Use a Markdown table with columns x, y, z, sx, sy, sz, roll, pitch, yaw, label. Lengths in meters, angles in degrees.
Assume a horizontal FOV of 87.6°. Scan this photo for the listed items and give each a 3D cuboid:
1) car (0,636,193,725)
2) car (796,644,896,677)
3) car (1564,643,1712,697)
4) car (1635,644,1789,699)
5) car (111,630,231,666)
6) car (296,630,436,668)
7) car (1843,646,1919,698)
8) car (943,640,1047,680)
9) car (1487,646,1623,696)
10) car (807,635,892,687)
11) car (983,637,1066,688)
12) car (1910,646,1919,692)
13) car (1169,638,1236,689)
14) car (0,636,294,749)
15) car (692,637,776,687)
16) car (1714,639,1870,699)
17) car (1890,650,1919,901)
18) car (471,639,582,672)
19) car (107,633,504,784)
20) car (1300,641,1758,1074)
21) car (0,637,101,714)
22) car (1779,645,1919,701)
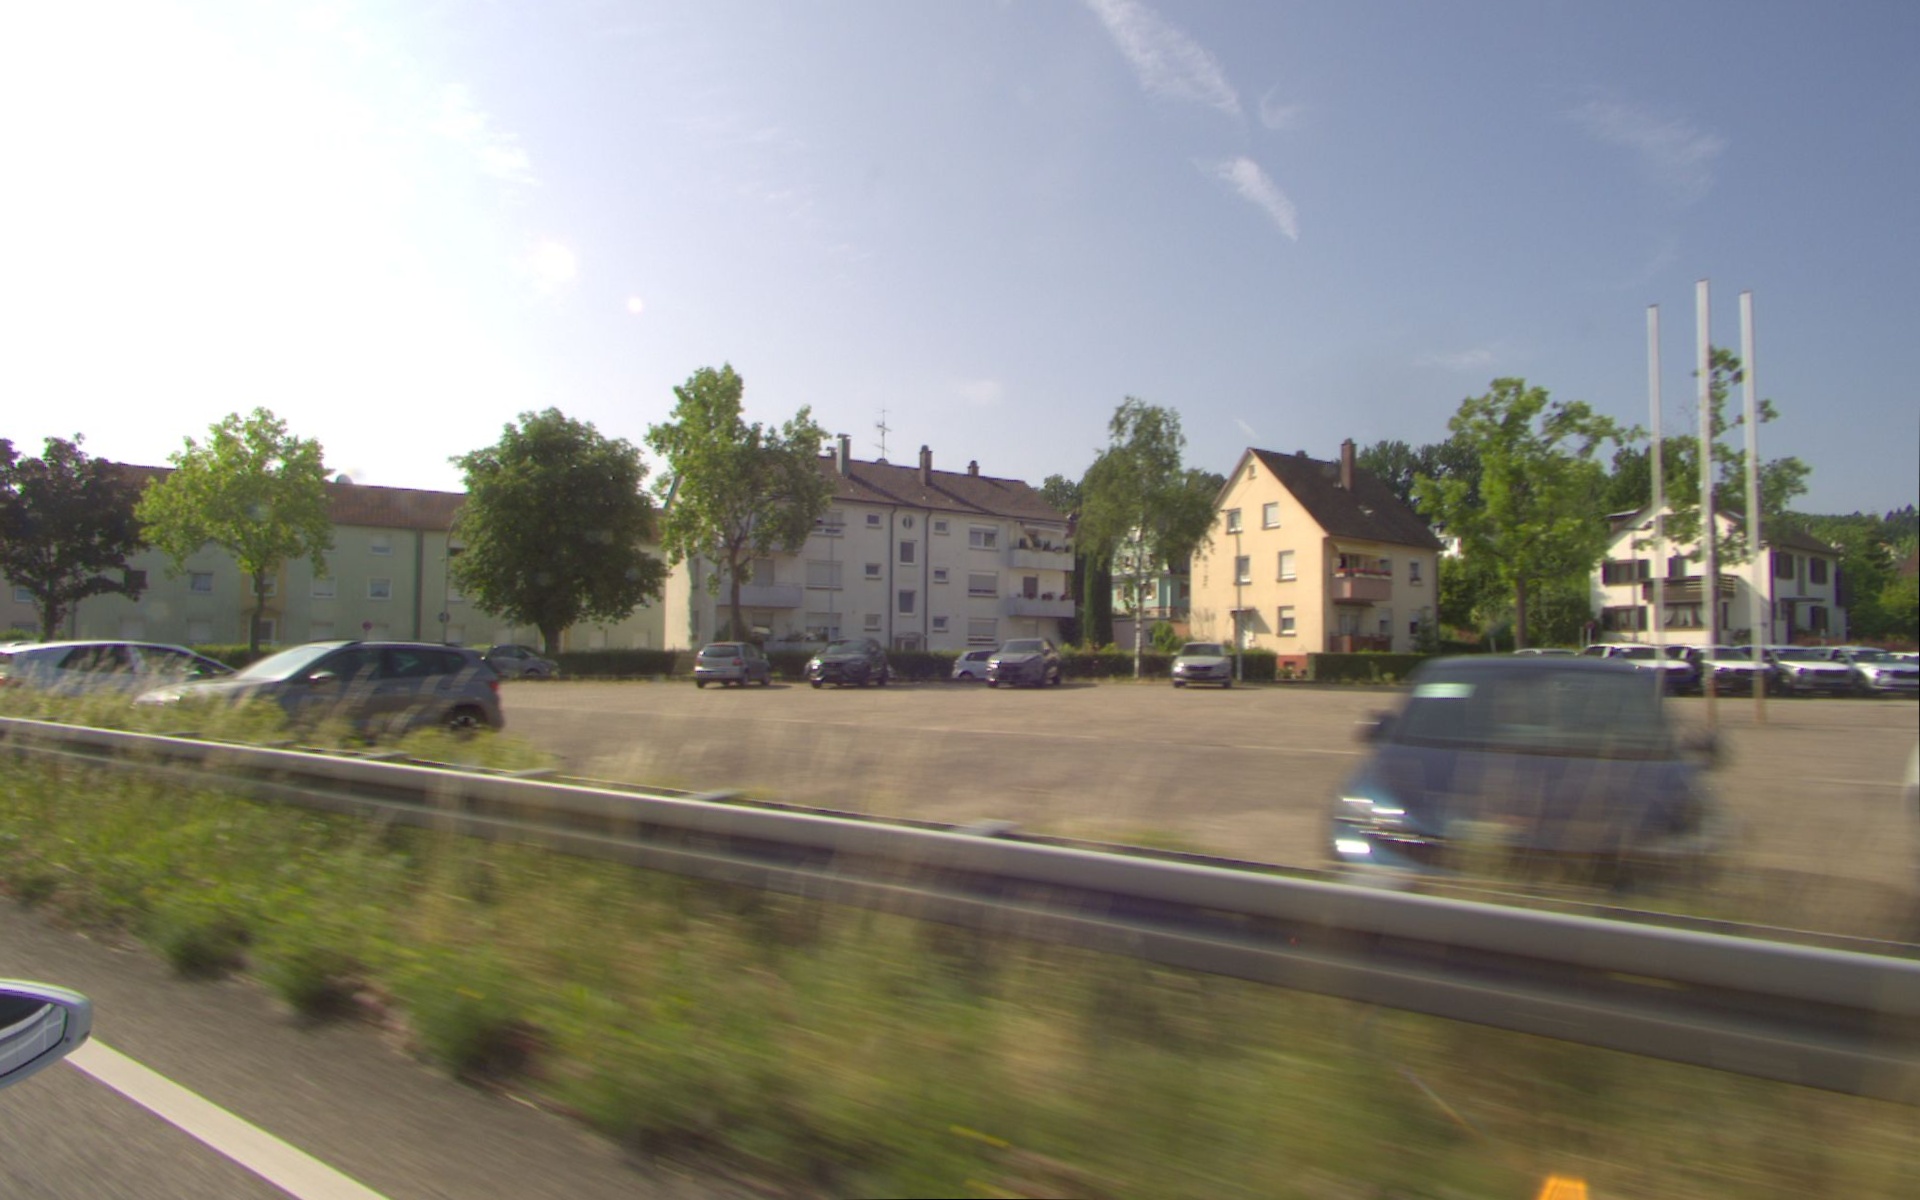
| x | y | z | sx | sy | sz | roll | pitch | yaw | label |
| --- | --- | --- | --- | --- | --- | --- | --- | --- | --- |
| -17.363 | 1.488 | 19.193 | 1.781 | 1.588 | 3.842 | -1 | -2 | 31 | car |
| -4.296 | 2.284 | 38.074 | 3.591 | 1.201 | 1.595 | 0 | -2 | 3 | car |
| 22.781 | 2.306 | 33.914 | 1.894 | 1.608 | 4.753 | 0 | -1 | 2 | car |
| 25.151 | 2.346 | 33.749 | 1.894 | 1.608 | 4.753 | -1 | -1 | 5 | car |
| -31.138 | 1.883 | 39.568 | 3.591 | 1.384 | 1.657 | 0 | -2 | 7 | car |
| -23.094 | 1.893 | 39.034 | 4.437 | 1.423 | 1.915 | 0 | -2 | 7 | car |
| 32.779 | 2.432 | 33.965 | 1.894 | 1.655 | 4.752 | -1 | -1 | 7 | car |
| 1.397 | 2.297 | 38.831 | 3.911 | 1.493 | 1.787 | 0 | -2 | 7 | car |
| 20.025 | 2.356 | 33.988 | 1.894 | 1.477 | 4.753 | 0 | -1 | 2 | car |
| -3.595 | 1.973 | 33.417 | 1.806 | 1.620 | 4.498 | 0 | -2 | 8 | car |
| 2.190 | 1.989 | 32.902 | 1.830 | 1.541 | 4.633 | 0 | -2 | 15 | car |
| 35.438 | 2.434 | 34.214 | 1.895 | 1.655 | 4.751 | -1 | -1 | 9 | car |
| 7.933 | 1.992 | 32.540 | 1.960 | 1.541 | 4.758 | 0 | -2 | 15 | car |
| -13.374 | 1.381 | 16.188 | 1.753 | 1.600 | 3.980 | -1 | -2 | 33 | car |
| -7.435 | 2.022 | 33.269 | 1.625 | 1.541 | 3.767 | 0 | -2 | 5 | car |
| 27.785 | 2.259 | 33.683 | 1.895 | 1.803 | 4.751 | -1 | -1 | 10 | car |
| 6.108 | 1.105 | 4.741 | 1.746 | 1.576 | 4.151 | -1 | -1 | 32 | car |
| -16.639 | 2.118 | 38.530 | 3.591 | 1.201 | 1.595 | 0 | -2 | 7 | car |
| -8.401 | 1.277 | 13.225 | 1.860 | 1.661 | 3.982 | -1 | -2 | 31 | car |
| 3.472 | 1.087 | 6.107 | 1.716 | 1.565 | 4.151 | -1 | -1 | 32 | car |
| -20.183 | 1.523 | 20.238 | 1.673 | 1.541 | 3.982 | -1 | -2 | 31 | car |
| 30.362 | 2.395 | 33.861 | 1.895 | 1.655 | 4.752 | -1 | -1 | 8 | car |
